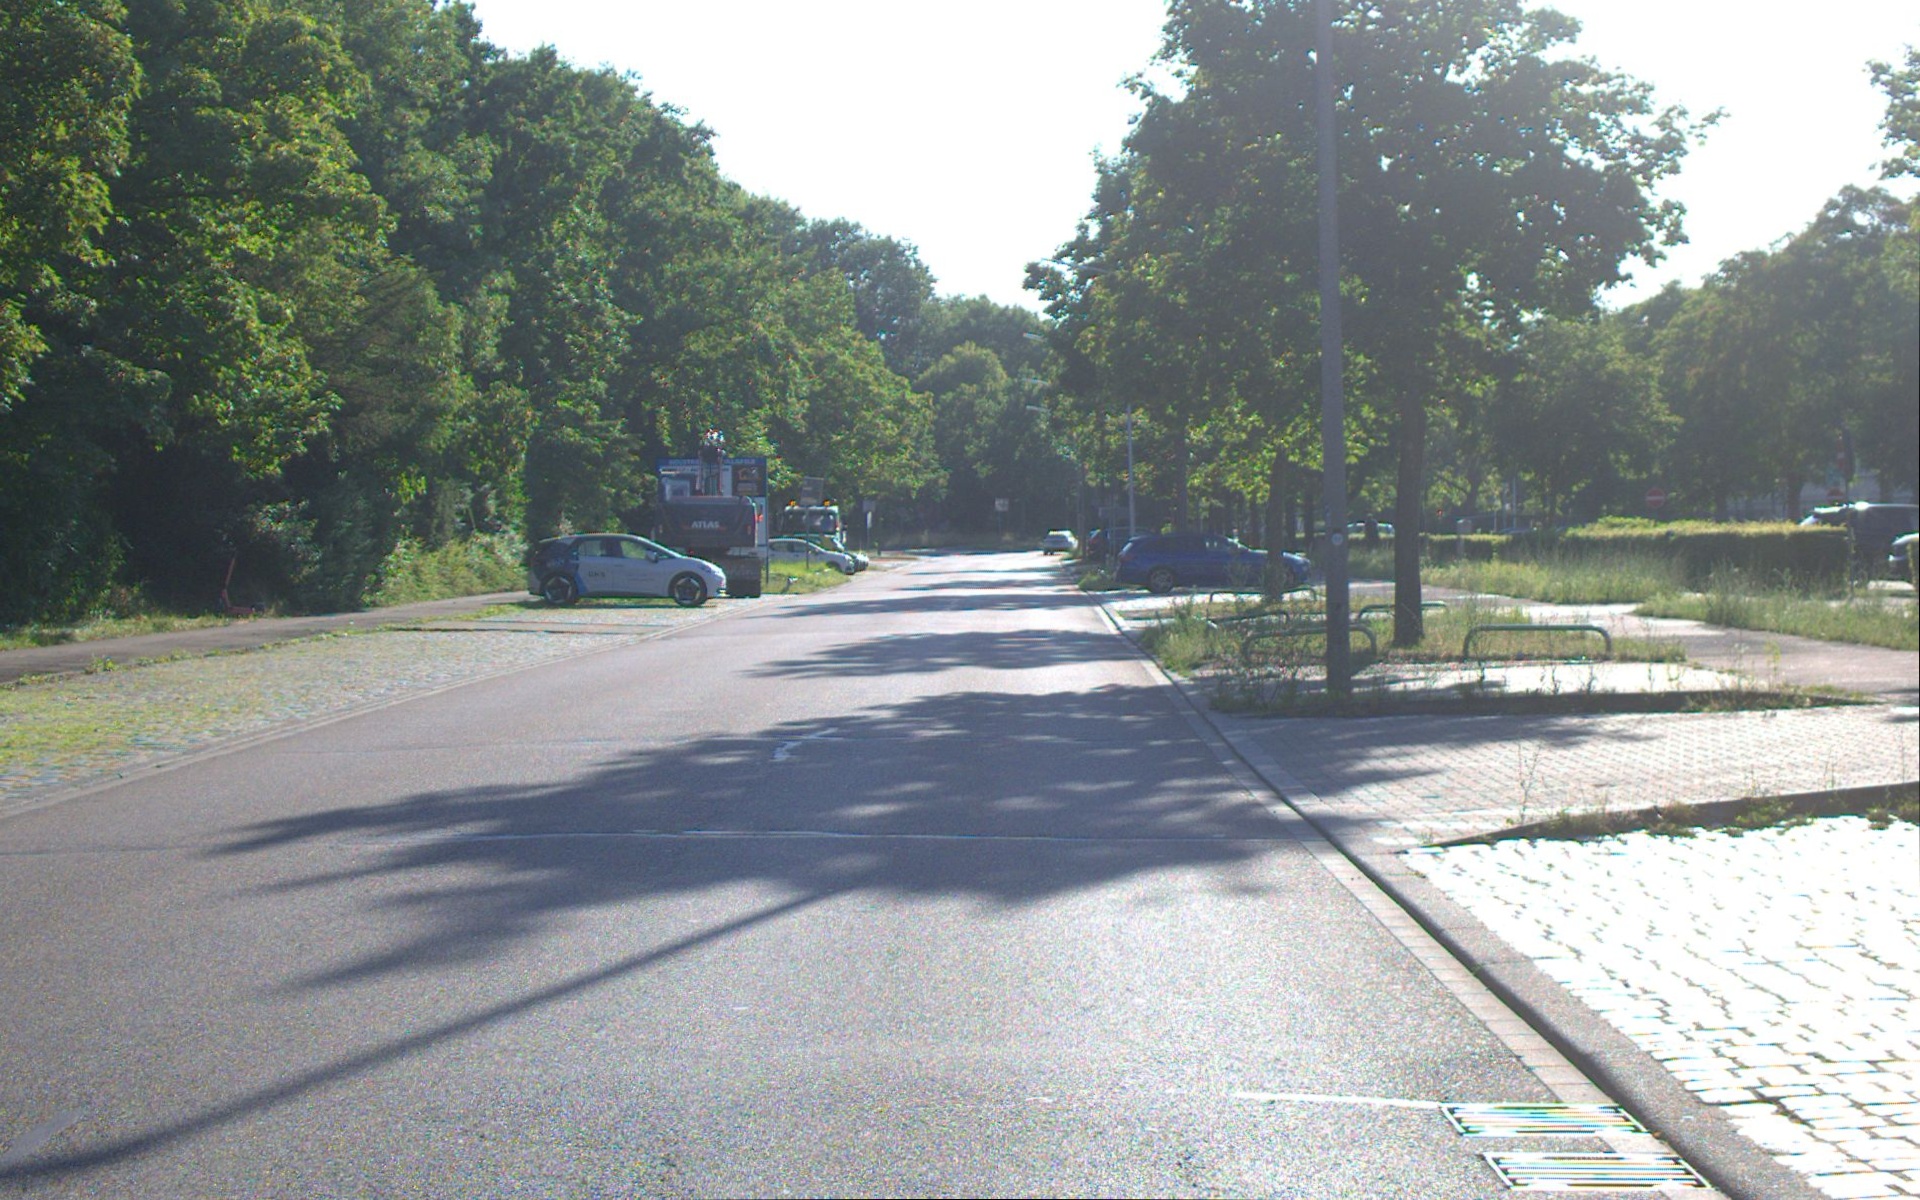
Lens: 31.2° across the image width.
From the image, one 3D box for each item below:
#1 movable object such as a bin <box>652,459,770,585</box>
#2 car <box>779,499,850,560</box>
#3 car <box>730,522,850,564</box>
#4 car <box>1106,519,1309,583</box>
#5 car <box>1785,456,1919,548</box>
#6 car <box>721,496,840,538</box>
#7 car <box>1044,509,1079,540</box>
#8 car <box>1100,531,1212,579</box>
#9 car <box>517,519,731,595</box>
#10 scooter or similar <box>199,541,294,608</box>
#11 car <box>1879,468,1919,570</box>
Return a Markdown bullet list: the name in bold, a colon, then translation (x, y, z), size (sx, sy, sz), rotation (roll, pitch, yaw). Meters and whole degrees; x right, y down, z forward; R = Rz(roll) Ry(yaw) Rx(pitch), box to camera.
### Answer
- **movable object such as a bin**: translation (-6.277, -1.980, 87.093), size (2.838, 3.058, 4.928), rotation (1, 1, -3)
- **car**: translation (-5.806, -2.803, 136.633), size (2.516, 2.378, 4.374), rotation (-1, 1, -6)
- **car**: translation (-6.306, -2.114, 127.303), size (4.358, 1.474, 2.000), rotation (-1, 1, -5)
- **car**: translation (5.975, -1.197, 83.436), size (4.842, 1.474, 2.000), rotation (-1, 1, 2)
- **car**: translation (18.190, -1.890, 65.783), size (4.359, 1.700, 2.000), rotation (-1, 2, 3)
- **car**: translation (-6.794, -3.130, 129.807), size (4.357, 1.474, 2.000), rotation (1, 1, -5)
- **car**: translation (6.433, -4.799, 218.115), size (1.993, 1.897, 4.000), rotation (-1, 1, -1)
- **car**: translation (7.897, -1.822, 138.901), size (4.358, 1.723, 2.000), rotation (-3, 1, 1)
- **car**: translation (-7.249, -0.943, 74.407), size (4.359, 1.542, 2.000), rotation (-1, 1, 2)
- **scooter or similar**: translation (-12.387, -0.444, 59.723), size (0.577, 1.141, 1.581), rotation (0, 1, 41)
- **car**: translation (18.179, -1.332, 58.603), size (4.429, 1.700, 2.059), rotation (1, 1, 0)
